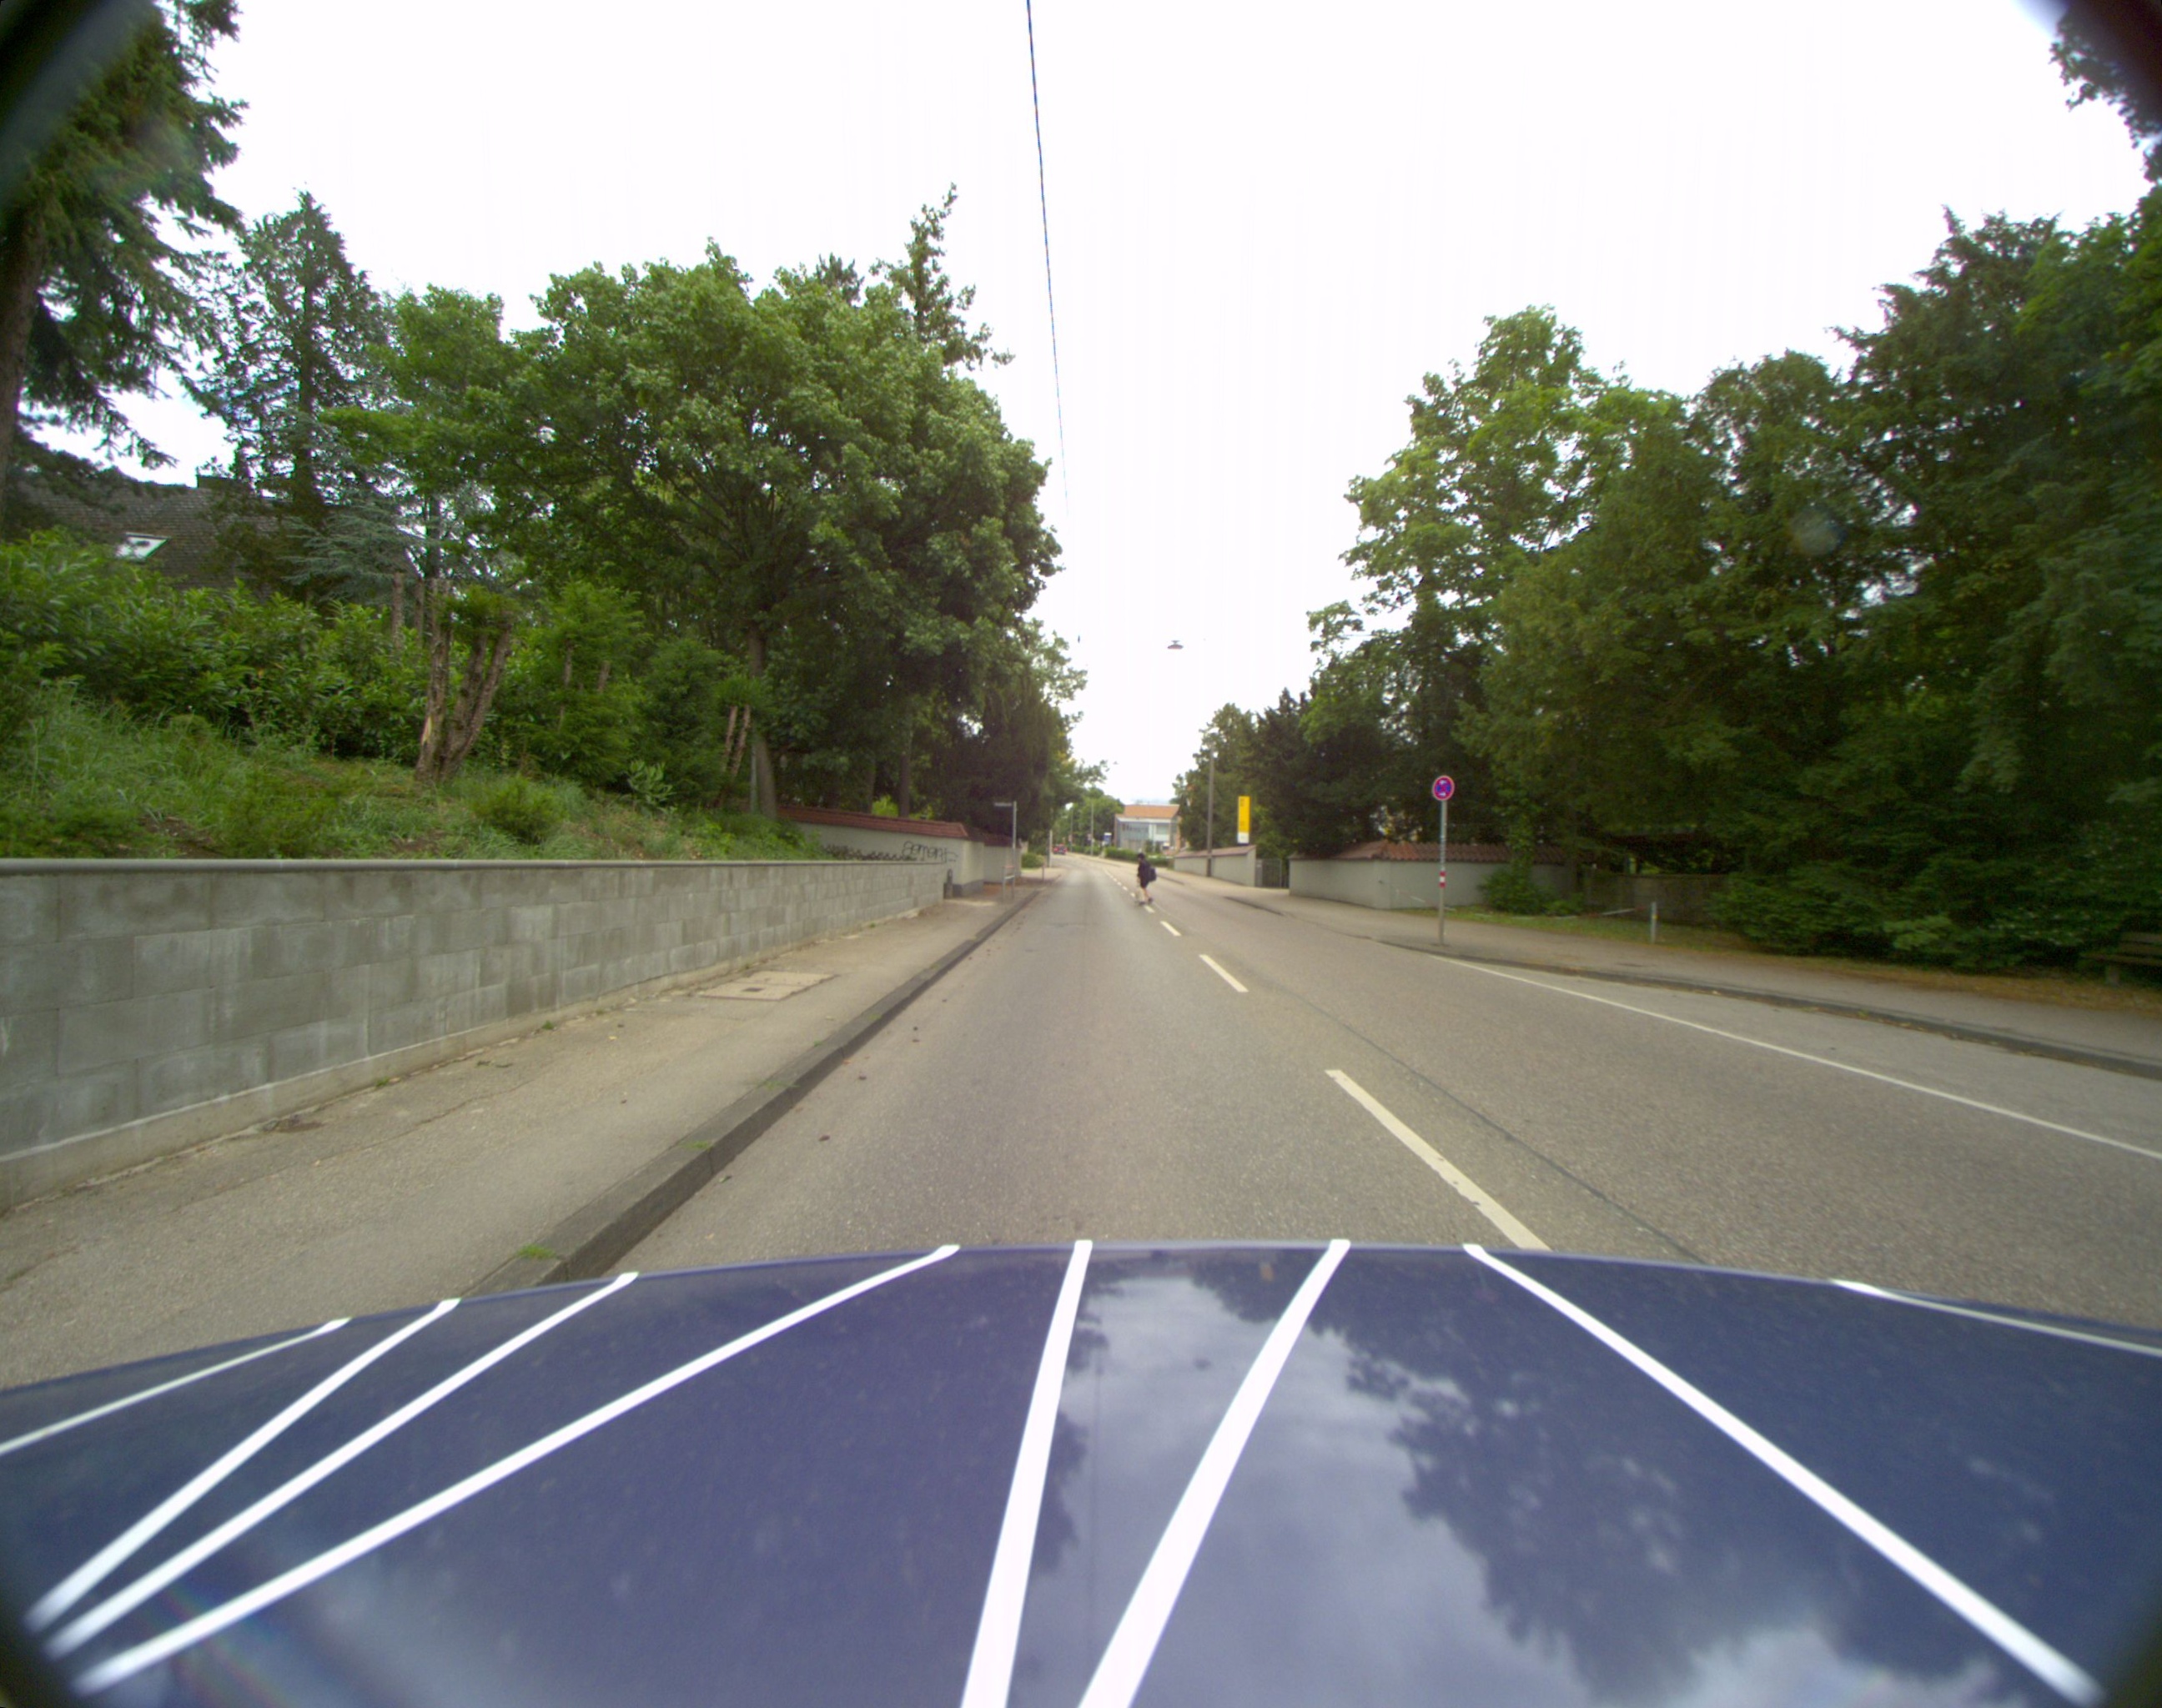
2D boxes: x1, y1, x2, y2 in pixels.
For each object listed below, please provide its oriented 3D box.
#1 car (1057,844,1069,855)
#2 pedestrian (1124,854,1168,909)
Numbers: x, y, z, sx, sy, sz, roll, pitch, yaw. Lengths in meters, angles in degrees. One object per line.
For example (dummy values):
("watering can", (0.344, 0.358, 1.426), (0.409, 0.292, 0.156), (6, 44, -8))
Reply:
("car", (-3.316, -0.888, 141.006), (1.895, 1.845, 5.082), (4, 0, 0))
("pedestrian", (1.911, 0.781, 22.350), (0.900, 1.551, 0.930), (1, 1, 40))
